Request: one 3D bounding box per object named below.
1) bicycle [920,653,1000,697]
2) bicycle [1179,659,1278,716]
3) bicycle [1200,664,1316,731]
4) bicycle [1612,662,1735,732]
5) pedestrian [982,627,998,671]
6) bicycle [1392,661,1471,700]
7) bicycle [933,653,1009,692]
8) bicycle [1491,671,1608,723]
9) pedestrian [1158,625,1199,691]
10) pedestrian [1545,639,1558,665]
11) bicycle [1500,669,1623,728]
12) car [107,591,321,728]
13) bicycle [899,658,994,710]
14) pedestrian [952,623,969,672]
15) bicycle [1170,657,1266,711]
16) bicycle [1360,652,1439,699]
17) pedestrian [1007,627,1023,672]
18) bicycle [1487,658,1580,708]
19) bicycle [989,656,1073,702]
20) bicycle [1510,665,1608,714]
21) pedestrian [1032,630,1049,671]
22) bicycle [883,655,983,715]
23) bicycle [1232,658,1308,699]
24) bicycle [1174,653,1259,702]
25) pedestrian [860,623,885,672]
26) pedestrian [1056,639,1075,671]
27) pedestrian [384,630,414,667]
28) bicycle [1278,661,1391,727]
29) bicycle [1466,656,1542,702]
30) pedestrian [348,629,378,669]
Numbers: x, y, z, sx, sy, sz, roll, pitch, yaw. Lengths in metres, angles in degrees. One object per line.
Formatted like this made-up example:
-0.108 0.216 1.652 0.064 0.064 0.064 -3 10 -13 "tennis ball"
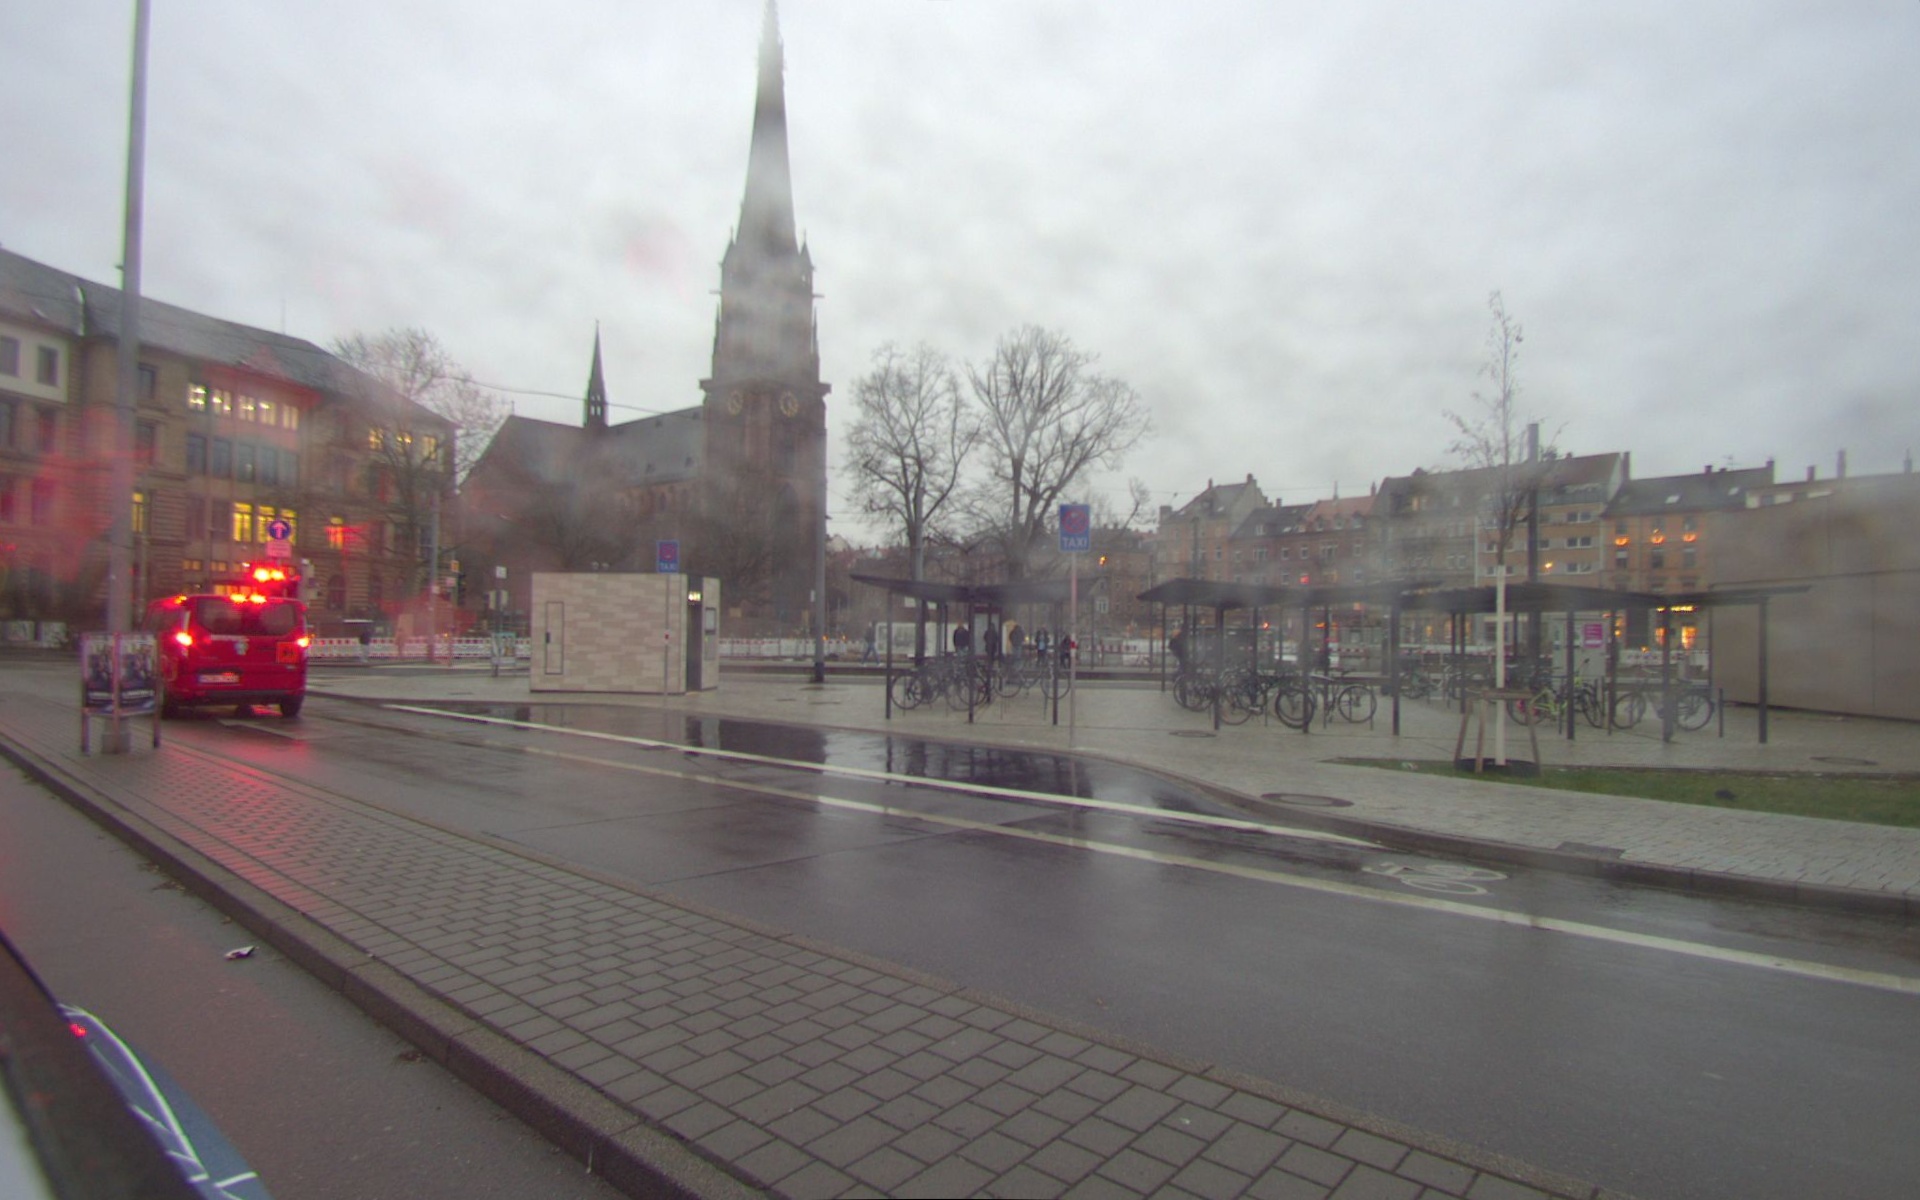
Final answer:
-0.006 1.827 24.867 1.905 0.993 0.473 1 -1 11 "bicycle"
5.453 1.773 20.615 1.905 1.078 0.473 1 -1 11 "bicycle"
5.264 1.719 17.954 1.905 1.078 0.473 1 -1 11 "bicycle"
12.697 1.723 18.043 1.731 1.165 0.617 1 -1 2 "bicycle"
1.158 1.857 38.649 0.556 1.664 0.540 -1 0 -1 "pedestrian"
11.630 1.990 24.989 1.672 0.898 0.474 1 -1 5 "bicycle"
0.280 1.866 26.124 1.905 0.917 0.473 1 -1 11 "bicycle"
11.375 1.861 19.569 1.905 0.898 0.473 1 -1 11 "bicycle"
5.994 1.594 27.879 1.056 1.778 1.008 0 -3 10 "pedestrian"
46.078 4.032 78.823 0.579 2.029 0.707 3 -4 -40 "pedestrian"
11.134 1.813 18.781 1.905 0.983 0.473 1 -1 11 "bicycle"
-13.078 0.992 17.635 4.640 2.086 1.904 -1 -4 40 "car"
-0.279 1.732 21.102 1.905 0.993 0.473 1 -1 11 "bicycle"
0.014 1.799 38.576 0.619 1.808 0.672 -1 0 -1 "pedestrian"
5.439 1.771 21.399 1.899 1.078 0.474 1 -1 2 "bicycle"
11.193 1.923 25.799 1.780 1.116 0.473 1 -1 11 "bicycle"
2.077 1.853 38.112 0.543 1.648 0.571 -1 0 -1 "pedestrian"
13.261 1.907 23.415 1.810 1.081 0.474 1 -1 8 "bicycle"
1.648 1.820 23.421 1.905 0.993 0.473 1 -1 11 "bicycle"
12.909 1.918 21.828 1.751 0.963 0.473 1 -1 11 "bicycle"
3.043 1.908 38.330 0.580 1.513 0.675 -1 0 -1 "pedestrian"
-0.530 1.652 19.865 1.905 1.078 0.473 1 -1 11 "bicycle"
7.671 1.940 25.068 1.729 0.946 0.474 1 -1 7 "bicycle"
6.072 1.827 24.038 1.905 1.078 0.473 1 -1 11 "bicycle"
-3.286 1.784 38.141 0.817 1.808 0.668 -1 0 7 "pedestrian"
3.990 2.070 38.322 0.610 1.165 0.806 -1 0 -1 "pedestrian"
-26.178 2.230 47.217 1.205 1.673 0.765 -1 0 34 "pedestrian"
6.953 1.733 18.864 1.905 1.129 0.473 1 -1 11 "bicycle"
13.241 1.915 24.661 1.551 1.044 0.521 1 -1 1 "bicycle"
-29.306 2.408 49.688 0.962 1.915 0.673 1 -2 6 "pedestrian"
